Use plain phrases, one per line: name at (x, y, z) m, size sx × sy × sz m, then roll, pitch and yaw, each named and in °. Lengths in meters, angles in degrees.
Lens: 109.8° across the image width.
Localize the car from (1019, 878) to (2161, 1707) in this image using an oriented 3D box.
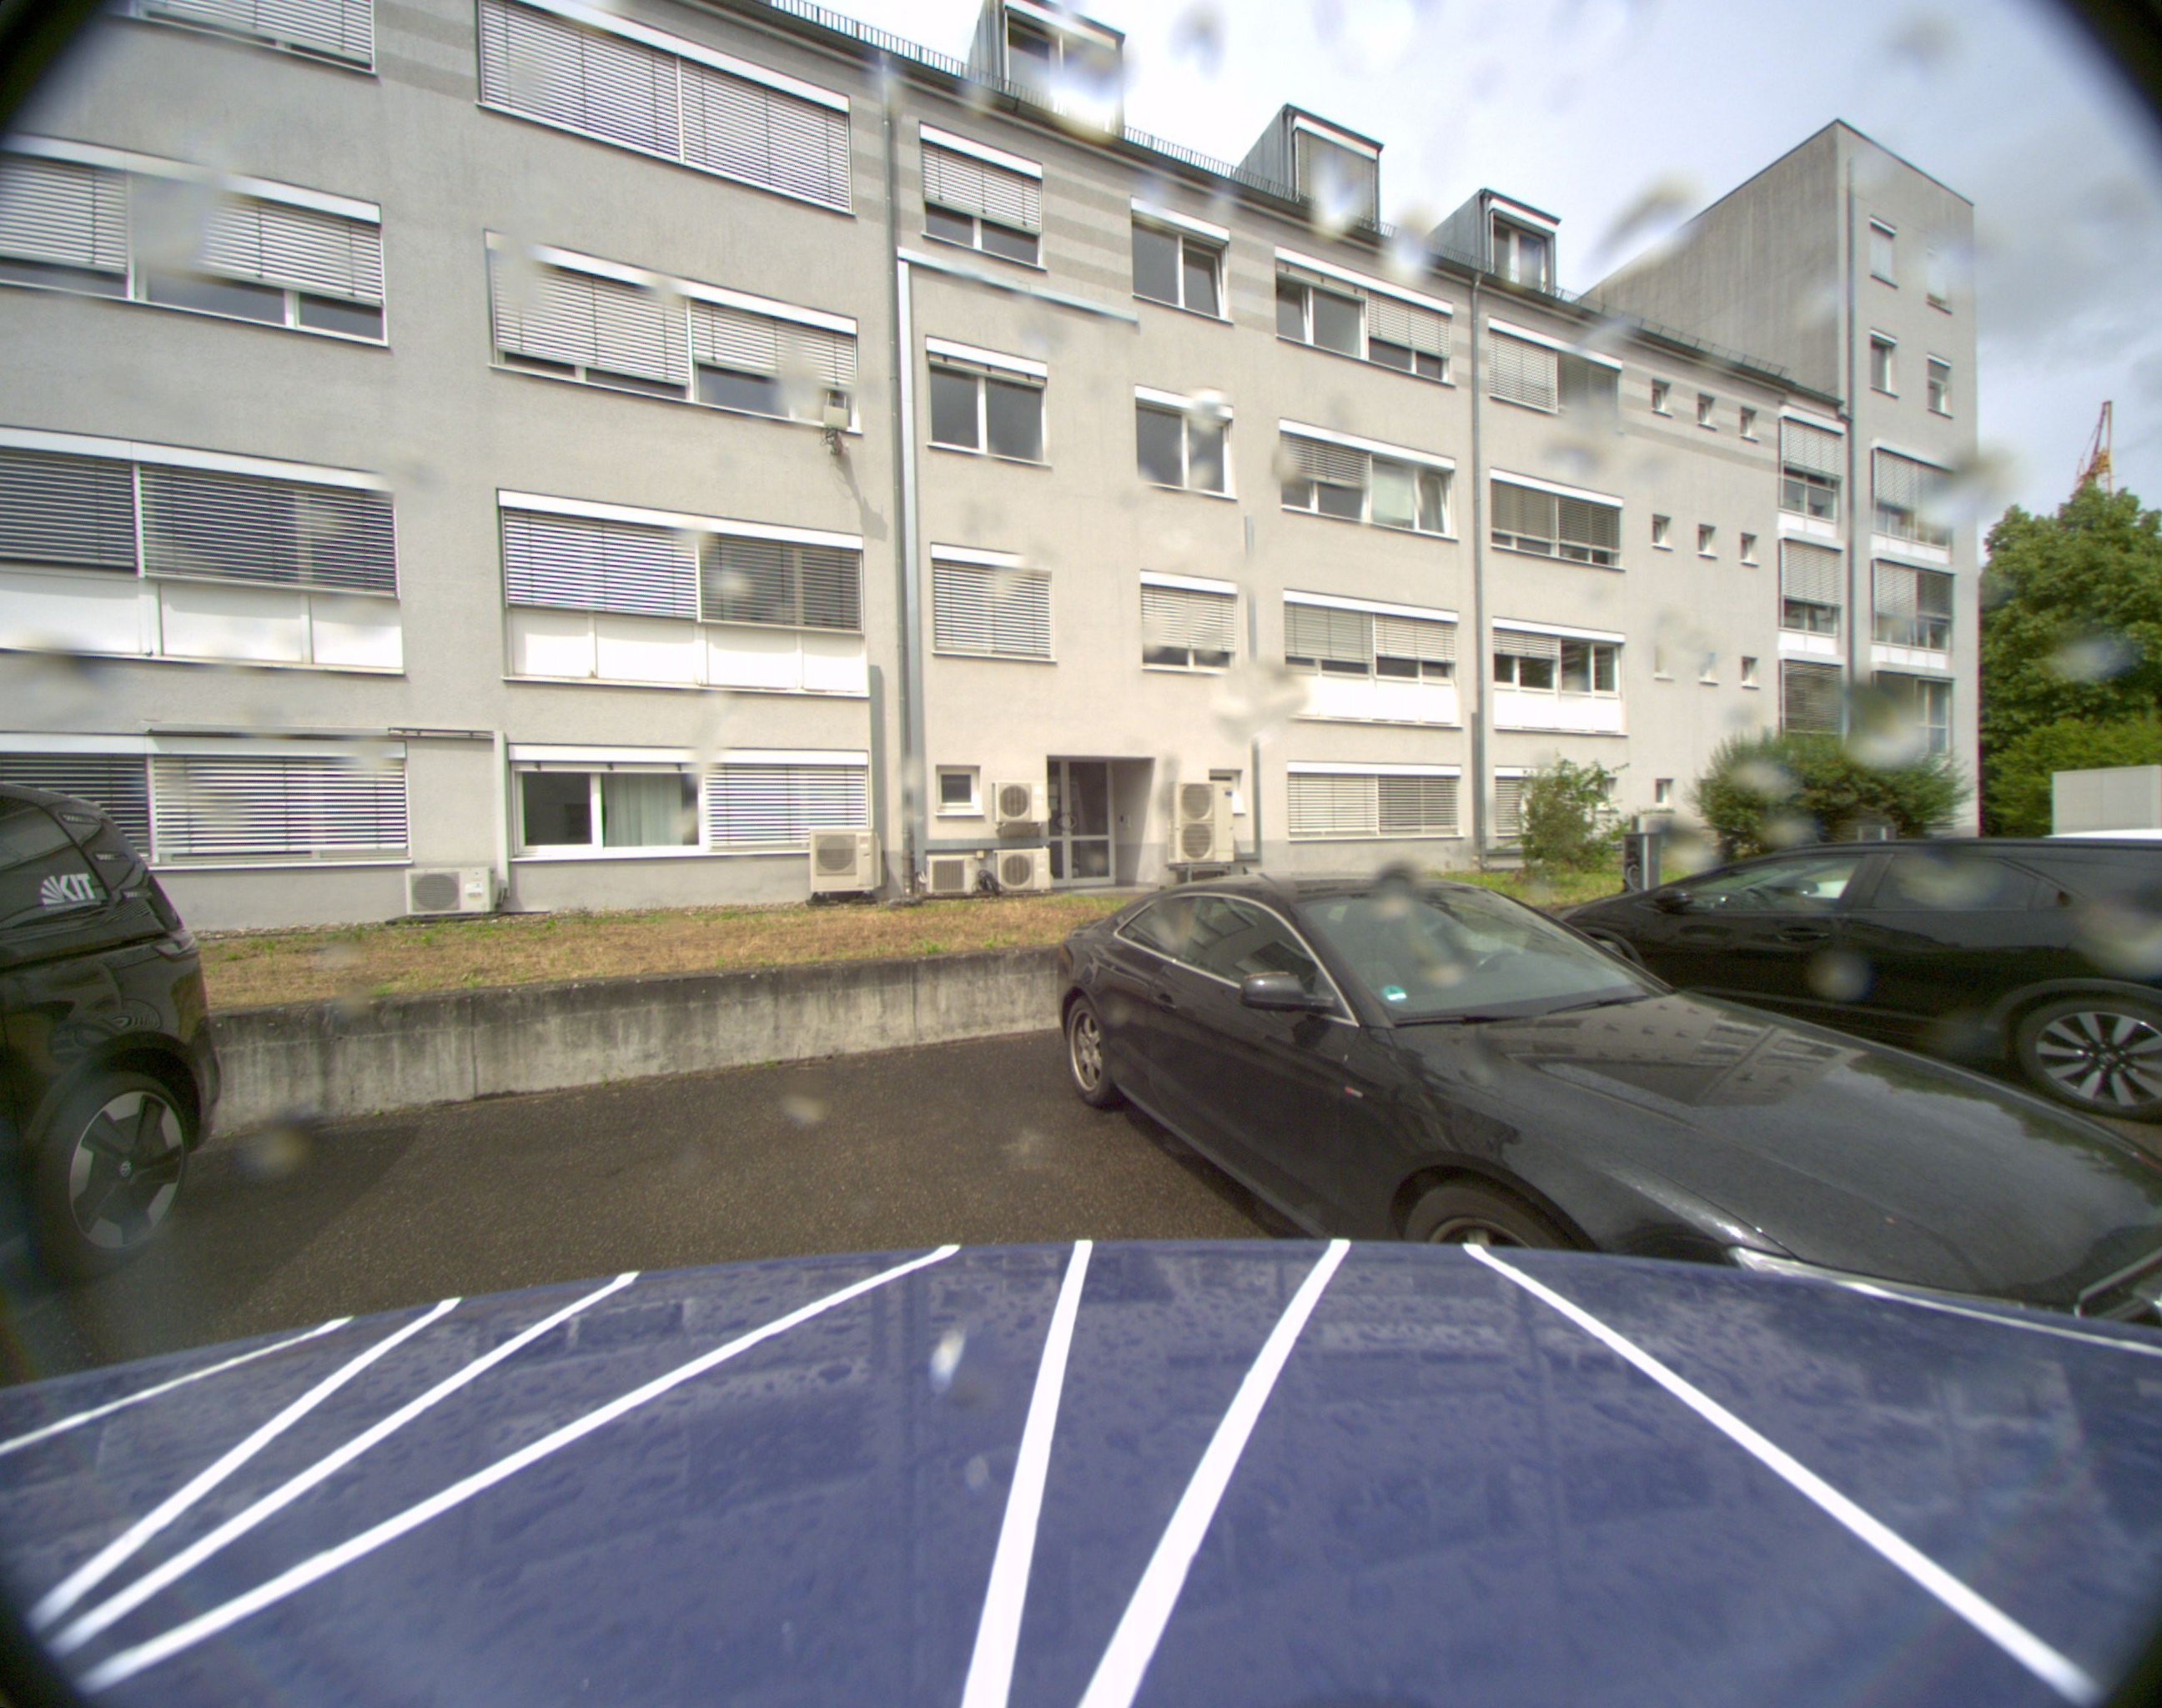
car at (1.266, 0.922, 3.309) m, size 1.765 × 1.344 × 4.520 m, roll -3°, pitch 2°, yaw -22°

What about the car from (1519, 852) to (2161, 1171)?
car at (5.553, 0.763, 5.125) m, size 1.765 × 1.434 × 4.307 m, roll -3°, pitch 2°, yaw -23°

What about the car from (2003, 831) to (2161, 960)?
car at (13.544, 0.475, 8.155) m, size 1.765 × 1.434 × 4.307 m, roll -3°, pitch 2°, yaw -23°

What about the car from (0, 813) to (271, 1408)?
car at (-3.926, 0.848, 1.081) m, size 1.973 × 1.854 × 4.738 m, roll -2°, pitch 2°, yaw -23°

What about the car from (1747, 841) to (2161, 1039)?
car at (8.685, 0.632, 6.542) m, size 1.698 × 1.434 × 4.117 m, roll -3°, pitch 2°, yaw -21°
